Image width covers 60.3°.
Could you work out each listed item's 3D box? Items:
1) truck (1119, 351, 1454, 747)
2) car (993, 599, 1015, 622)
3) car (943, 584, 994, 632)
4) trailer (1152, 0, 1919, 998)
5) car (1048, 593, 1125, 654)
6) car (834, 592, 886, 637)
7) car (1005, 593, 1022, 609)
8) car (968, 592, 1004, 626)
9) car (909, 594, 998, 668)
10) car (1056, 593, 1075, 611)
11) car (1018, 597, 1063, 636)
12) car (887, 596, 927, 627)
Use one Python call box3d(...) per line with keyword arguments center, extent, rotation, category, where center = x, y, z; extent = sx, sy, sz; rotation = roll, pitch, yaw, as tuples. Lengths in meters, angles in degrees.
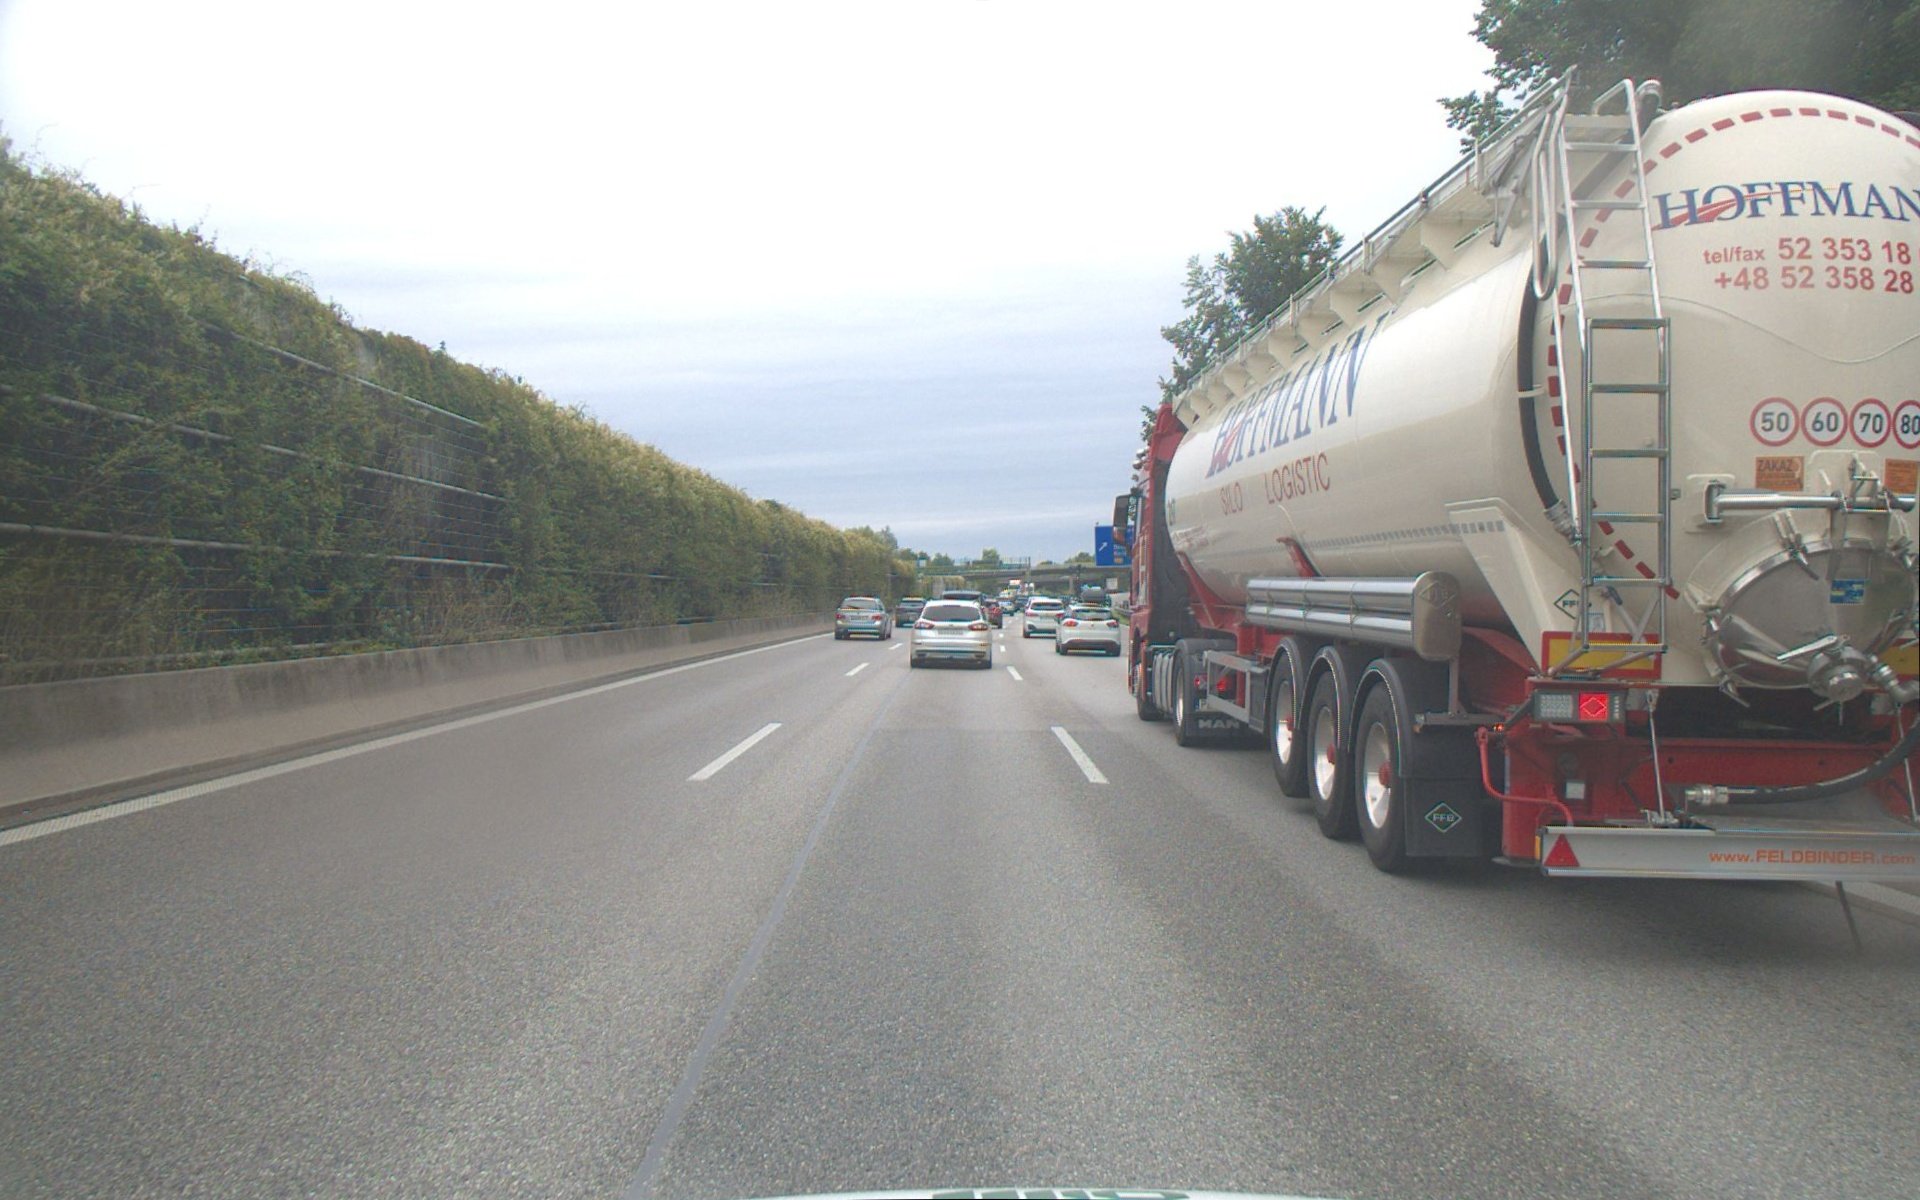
box3d(center=(3.598, -0.499, 19.916), extent=(2.640, 3.981, 6.555), rotation=(0, 0, -1), category="truck")
box3d(center=(3.622, 0.857, 135.773), extent=(1.752, 1.811, 3.872), rotation=(-1, 0, 2), category="car")
box3d(center=(0.273, 0.267, 59.704), extent=(1.655, 1.532, 3.870), rotation=(4, 1, -2), category="car")
box3d(center=(3.628, -0.515, 13.028), extent=(2.614, 4.007, 13.129), rotation=(0, 0, 0), category="trailer")
box3d(center=(3.597, 0.636, 47.732), extent=(1.779, 1.654, 5.029), rotation=(0, 0, -1), category="car")
box3d(center=(-3.563, 0.556, 59.453), extent=(1.685, 1.495, 5.027), rotation=(0, -2, -2), category="car")
box3d(center=(5.456, 0.090, 167.864), extent=(1.654, 1.566, 3.872), rotation=(0, 0, 1), category="car")
box3d(center=(1.332, 0.457, 84.203), extent=(1.654, 1.532, 3.873), rotation=(4, 1, 2), category="car")
box3d(center=(-0.161, 0.651, 37.628), extent=(1.853, 1.530, 5.029), rotation=(1, 0, 0), category="car")
box3d(center=(9.486, 0.151, 148.543), extent=(1.653, 1.566, 3.874), rotation=(0, 0, 5), category="car")
box3d(center=(3.218, 0.648, 66.779), extent=(1.654, 1.533, 3.871), rotation=(0, 0, 1), category="car")
box3d(center=(-2.675, 0.557, 84.111), extent=(1.684, 1.538, 5.031), rotation=(0, 0, 2), category="car")
